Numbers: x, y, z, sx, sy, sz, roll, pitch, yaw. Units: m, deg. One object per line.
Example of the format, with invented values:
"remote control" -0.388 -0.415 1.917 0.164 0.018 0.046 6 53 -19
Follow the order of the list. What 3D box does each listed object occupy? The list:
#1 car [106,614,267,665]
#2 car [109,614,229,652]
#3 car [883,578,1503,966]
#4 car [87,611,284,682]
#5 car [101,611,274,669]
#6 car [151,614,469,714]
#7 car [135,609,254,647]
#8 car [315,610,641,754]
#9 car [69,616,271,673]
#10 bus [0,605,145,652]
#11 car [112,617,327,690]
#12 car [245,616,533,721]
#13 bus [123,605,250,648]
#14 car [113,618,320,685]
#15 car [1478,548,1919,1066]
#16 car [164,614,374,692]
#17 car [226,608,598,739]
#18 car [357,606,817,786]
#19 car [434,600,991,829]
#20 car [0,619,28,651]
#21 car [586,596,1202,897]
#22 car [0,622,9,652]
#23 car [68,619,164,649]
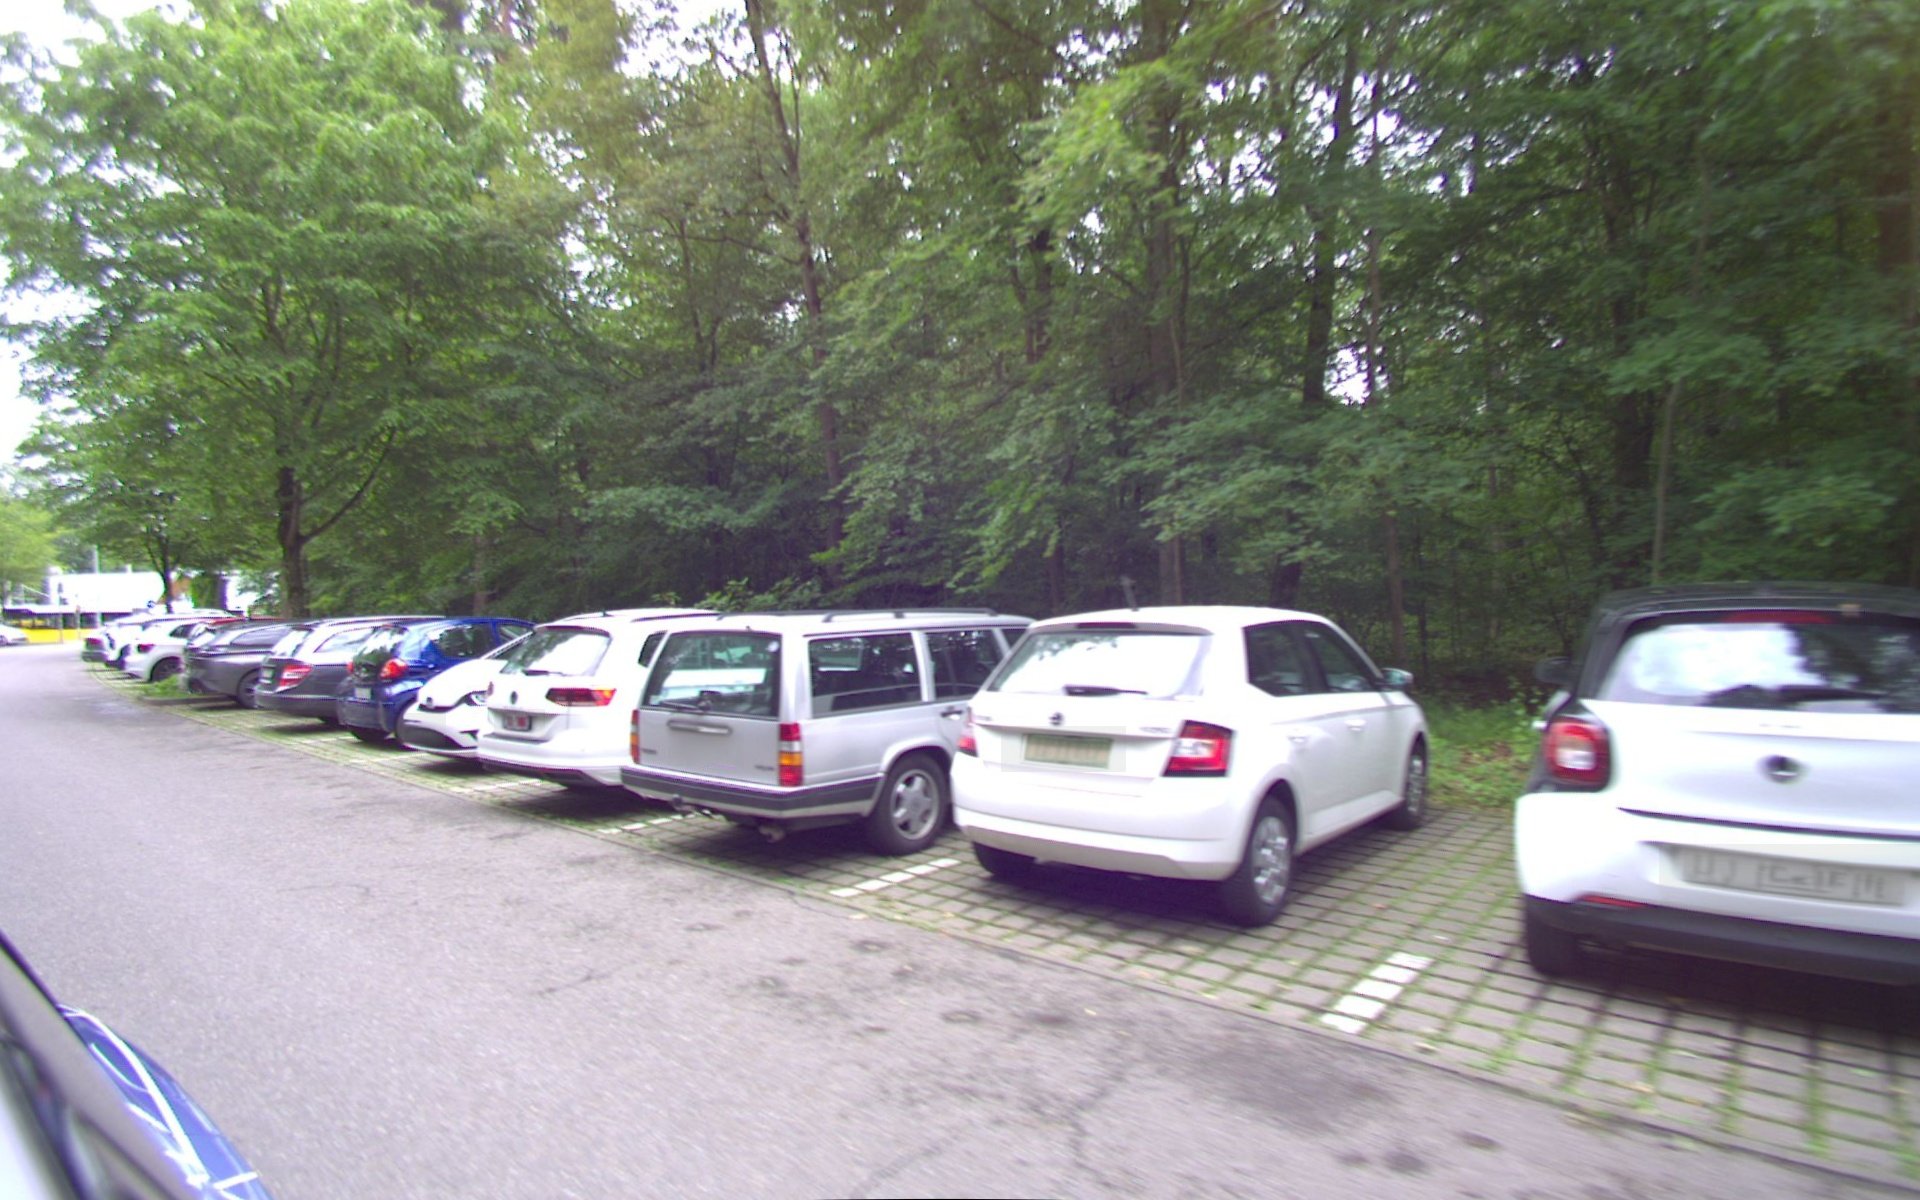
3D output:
"car" -25.954 1.287 34.042 4.182 1.545 1.765 0 -1 -42
"car" -36.972 1.511 47.436 4.296 1.610 2.036 0 -1 -34
"car" 1.788 0.645 6.277 1.939 1.497 4.517 -1 0 39
"car" -19.799 1.142 26.097 3.907 1.640 2.003 0 -1 -35
"car" -24.413 1.209 32.064 4.183 1.660 1.972 0 -1 -44
"car" -11.266 1.021 17.741 2.036 1.435 4.355 -1 0 45
"car" -42.044 1.498 55.729 5.015 1.930 1.984 -1 -1 -30
"car" -5.762 0.882 12.319 1.679 1.455 3.186 -1 0 40
"car" -23.317 1.262 29.956 4.583 1.489 2.097 0 -1 -42
"bus" -67.079 2.081 74.763 2.799 3.183 10.416 -4 -2 28
"car" -16.505 1.129 22.640 3.683 1.430 1.873 0 -1 -44
"car" -9.077 1.004 16.261 3.713 1.397 1.757 -1 0 -44
"bus" -62.885 2.099 82.494 2.799 3.183 7.681 -4 -2 28
"car" -17.890 1.179 24.449 1.897 1.432 3.761 -2 -1 42
"car" 3.884 0.614 4.923 1.843 1.562 4.198 -1 0 35
"car" -14.506 1.053 21.330 3.425 1.492 1.685 0 -1 -45
"car" -7.603 0.904 14.308 2.059 1.497 4.217 -1 0 44
"car" -3.778 0.839 10.928 1.889 1.497 4.323 -1 0 38
"car" -1.882 0.760 8.987 2.082 1.458 4.520 -1 -1 37
"car" -54.396 1.984 55.441 4.456 1.706 2.172 -1 0 -26
"car" -0.154 0.741 7.400 1.869 1.497 4.515 -1 -1 41
"car" -53.099 2.073 53.293 3.941 1.567 1.953 -3 -1 -25
"car" -59.909 2.378 71.880 1.996 1.790 4.868 -5 -2 36
